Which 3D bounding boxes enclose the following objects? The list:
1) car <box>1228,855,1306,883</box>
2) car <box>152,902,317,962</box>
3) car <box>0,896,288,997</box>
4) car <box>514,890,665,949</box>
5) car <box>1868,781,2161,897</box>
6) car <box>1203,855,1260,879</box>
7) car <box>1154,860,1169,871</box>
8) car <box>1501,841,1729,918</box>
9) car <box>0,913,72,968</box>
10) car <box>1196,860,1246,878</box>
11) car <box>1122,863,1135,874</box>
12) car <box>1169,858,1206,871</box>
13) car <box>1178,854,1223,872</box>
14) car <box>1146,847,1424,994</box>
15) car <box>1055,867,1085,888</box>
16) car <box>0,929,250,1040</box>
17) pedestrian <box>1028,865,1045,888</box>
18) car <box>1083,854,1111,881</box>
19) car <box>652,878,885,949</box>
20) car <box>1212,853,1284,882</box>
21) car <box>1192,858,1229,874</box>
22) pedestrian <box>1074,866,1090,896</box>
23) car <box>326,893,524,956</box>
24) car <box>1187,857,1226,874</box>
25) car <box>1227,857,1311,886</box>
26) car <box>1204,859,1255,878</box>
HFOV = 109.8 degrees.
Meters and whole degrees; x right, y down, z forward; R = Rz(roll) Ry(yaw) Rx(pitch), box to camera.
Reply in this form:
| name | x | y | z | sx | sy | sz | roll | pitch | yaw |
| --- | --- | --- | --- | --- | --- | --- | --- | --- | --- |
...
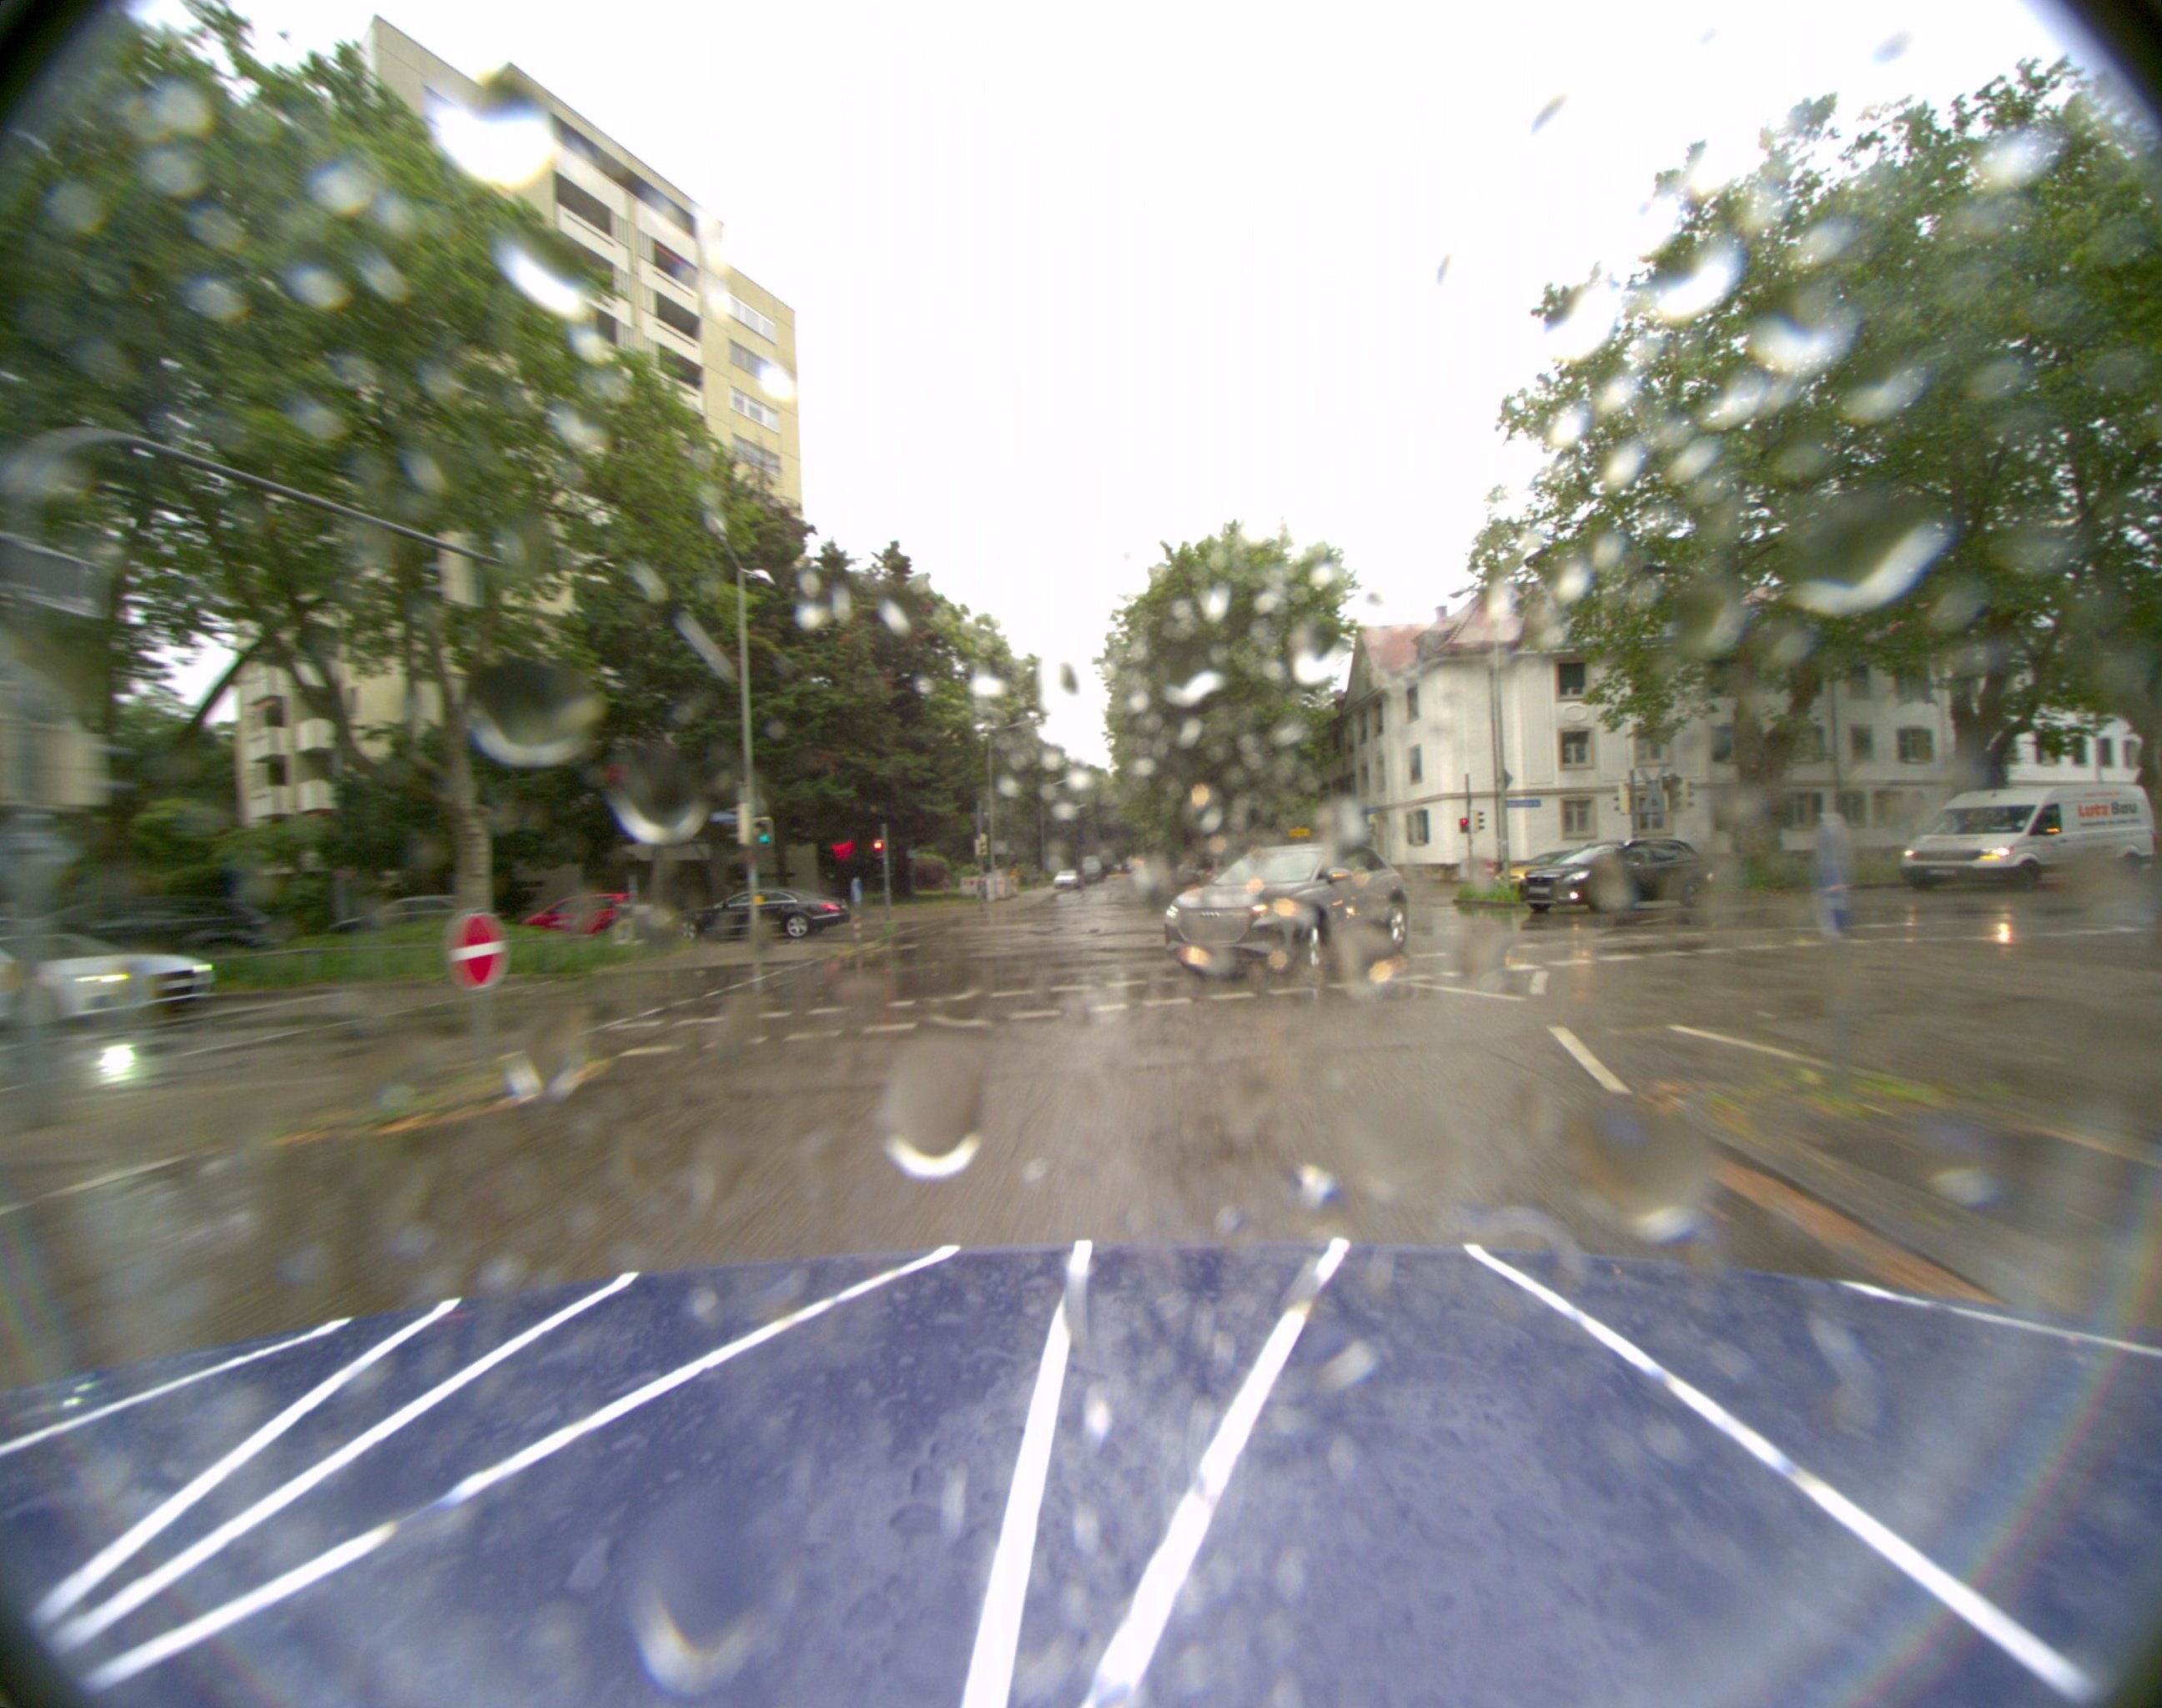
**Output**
| name | x | y | z | sx | sy | sz | roll | pitch | yaw |
| --- | --- | --- | --- | --- | --- | --- | --- | --- | --- |
| car | 12.092 | 0.990 | 49.633 | 4.667 | 1.680 | 2.034 | -2 | -1 | 4 |
| car | -26.423 | 2.428 | 23.778 | 3.481 | 1.586 | 1.842 | -3 | -1 | 10 |
| car | -20.381 | 1.878 | 16.066 | 1.870 | 1.654 | 4.611 | -3 | -1 | 26 |
| car | -15.237 | 2.007 | 23.704 | 3.458 | 1.516 | 1.842 | -3 | -1 | -1 |
| car | 23.840 | -0.405 | 19.396 | 6.514 | 2.547 | 2.282 | -3 | 0 | -15 |
| car | 12.783 | 1.073 | 64.892 | 4.439 | 1.888 | 2.034 | -2 | -1 | 2 |
| car | 14.082 | 1.953 | 133.166 | 1.999 | 1.795 | 4.000 | -3 | -1 | -1 |
| car | 11.505 | 0.518 | 16.471 | 4.002 | 1.435 | 1.852 | -2 | -1 | -14 |
| car | -36.215 | 2.901 | 24.933 | 3.995 | 1.623 | 1.933 | -3 | -1 | 6 |
| car | 13.571 | 1.433 | 73.648 | 4.525 | 1.561 | 2.034 | -2 | -1 | 4 |
| car | 8.242 | 2.513 | 132.827 | 1.999 | 1.795 | 4.350 | -3 | -1 | 0 |
| car | 13.876 | 1.369 | 99.322 | 4.667 | 1.595 | 2.034 | -2 | -1 | 4 |
| car | 14.324 | 1.048 | 91.169 | 5.085 | 2.011 | 2.034 | -2 | -1 | 4 |
| car | 2.961 | 0.768 | 10.464 | 1.806 | 1.611 | 4.146 | -5 | -3 | 45 |
| car | -0.788 | 1.807 | 59.273 | 1.820 | 1.451 | 4.274 | -3 | -1 | 5 |
| car | -15.431 | 1.933 | 11.087 | 4.171 | 1.267 | 1.902 | -3 | -1 | -8 |
| pedestrian | -3.151 | 1.596 | 53.916 | 0.943 | 1.650 | 0.929 | -2 | 0 | 7 |
| car | 1.631 | 1.319 | 75.169 | 2.400 | 2.460 | 5.694 | -2 | -1 | 4 |
| car | -8.429 | 1.580 | 21.049 | 5.532 | 1.509 | 2.256 | -3 | 0 | -10 |
| car | 11.701 | 0.957 | 53.558 | 4.667 | 1.862 | 2.034 | -2 | -1 | 4 |
| car | 13.978 | 1.283 | 82.049 | 3.719 | 1.680 | 1.938 | -2 | -1 | 4 |
| pedestrian | 0.087 | 1.879 | 53.044 | 0.943 | 2.050 | 1.081 | -2 | 0 | 7 |
| car | -20.292 | 2.159 | 23.642 | 4.451 | 1.598 | 1.941 | -3 | -1 | 2 |
| car | 13.958 | 1.297 | 84.451 | 4.107 | 1.680 | 1.829 | -2 | -1 | 4 |
| car | 11.613 | 1.086 | 47.183 | 4.736 | 1.613 | 1.931 | -2 | -1 | 1 |
| car | 13.881 | 1.353 | 71.154 | 4.406 | 1.575 | 1.928 | -2 | -1 | 4 |
